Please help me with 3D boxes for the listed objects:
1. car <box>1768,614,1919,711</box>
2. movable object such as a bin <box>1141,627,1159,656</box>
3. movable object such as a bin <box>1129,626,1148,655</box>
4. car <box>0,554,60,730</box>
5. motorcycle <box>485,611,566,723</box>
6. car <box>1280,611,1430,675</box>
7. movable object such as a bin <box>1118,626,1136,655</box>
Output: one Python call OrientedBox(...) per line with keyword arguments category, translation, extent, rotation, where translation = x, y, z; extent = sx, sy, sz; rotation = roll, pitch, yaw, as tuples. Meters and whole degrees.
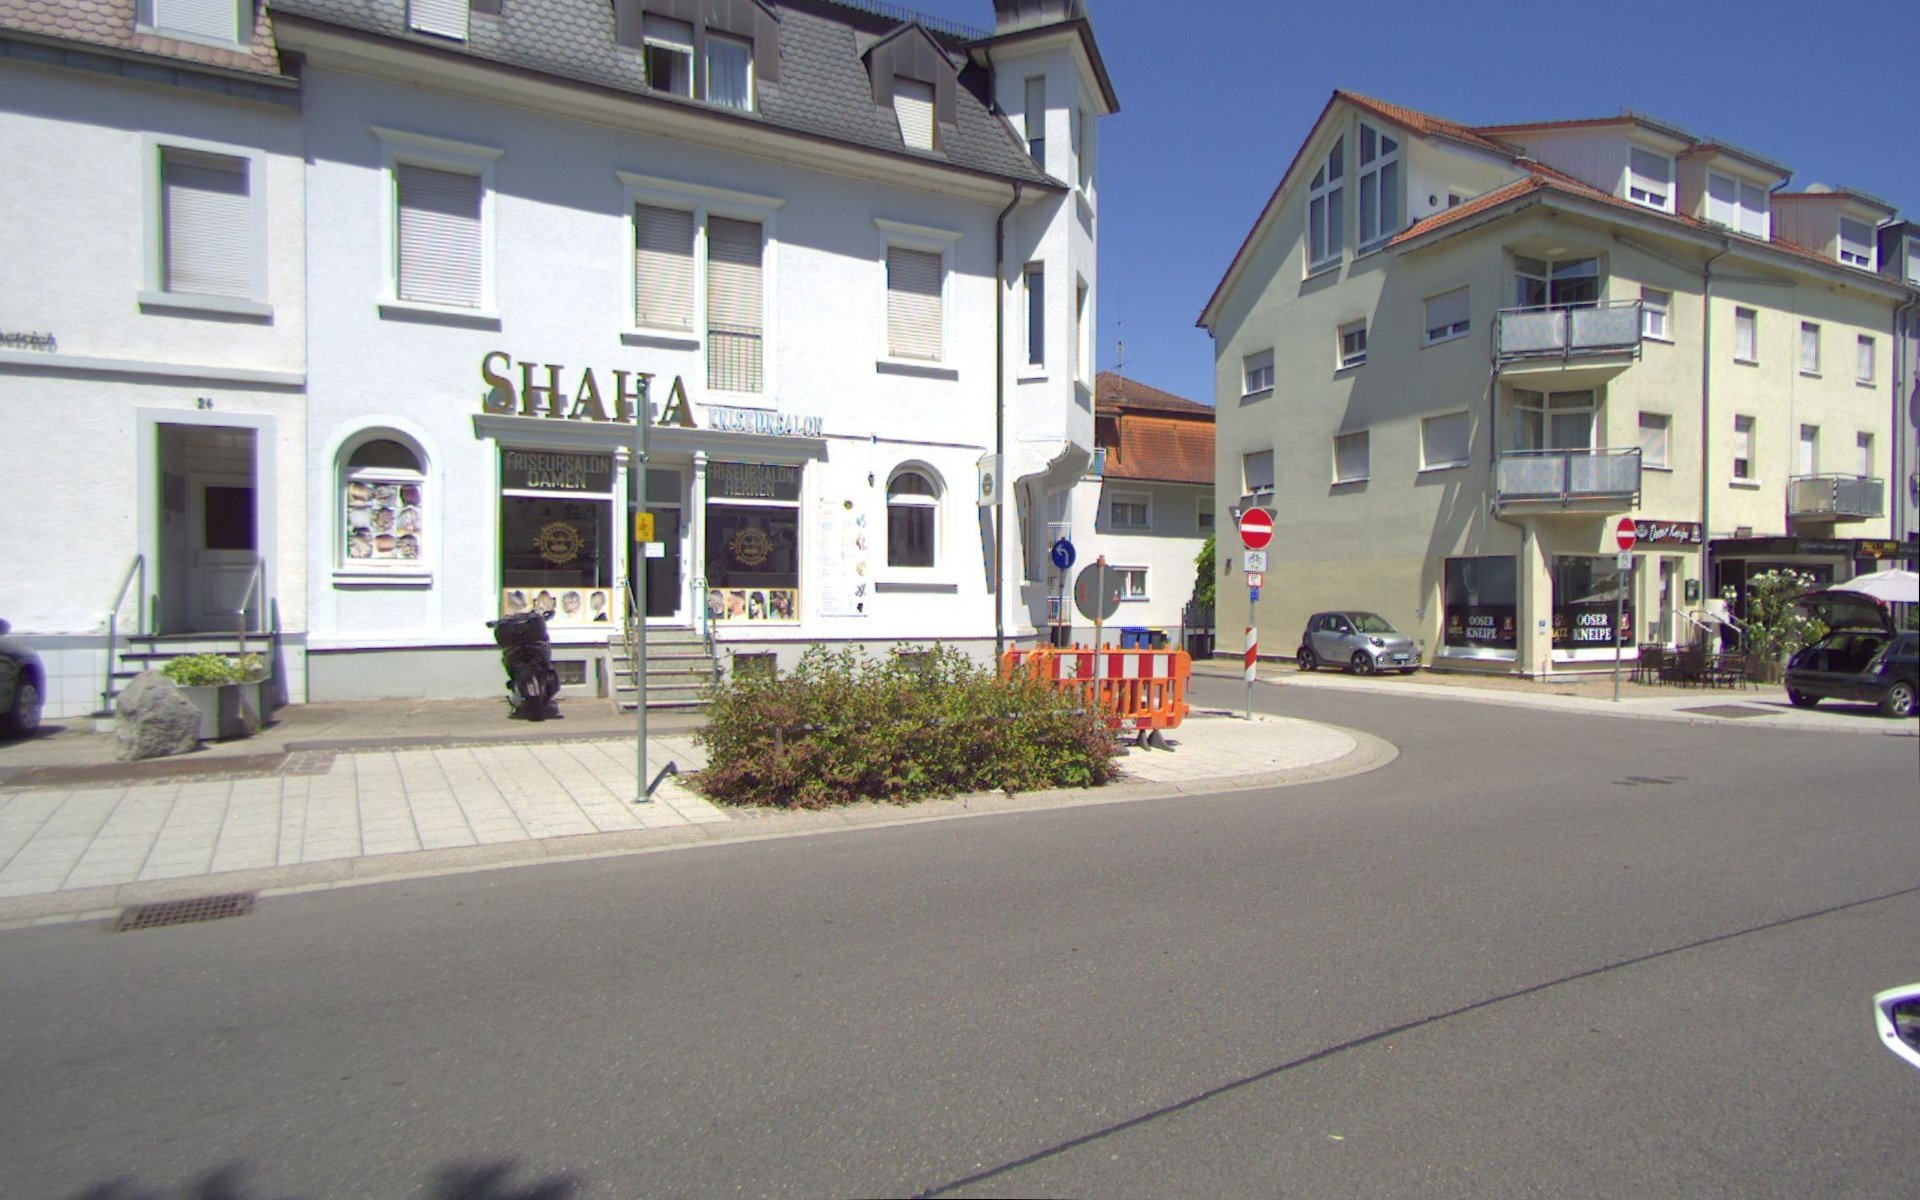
OrientedBox(category="car", translation=(16.605, 1.076, 17.533), extent=(4.059, 1.480, 1.713), rotation=(1, 2, -13))
OrientedBox(category="movable object such as a bin", translation=(7.971, 1.723, 42.182), extent=(0.533, 1.209, 0.591), rotation=(1, -1, -21))
OrientedBox(category="movable object such as a bin", translation=(7.462, 1.698, 41.969), extent=(0.533, 1.209, 0.591), rotation=(1, -1, -21))
OrientedBox(category="car", translation=(-9.827, 0.393, 8.736), extent=(1.945, 1.684, 4.165), rotation=(1, 0, -27))
OrientedBox(category="motorcycle", translation=(-5.440, 0.776, 12.520), extent=(0.822, 1.234, 2.388), rotation=(1, -1, -25))
OrientedBox(category="car", translation=(9.908, 1.033, 25.389), extent=(1.670, 1.478, 3.250), rotation=(0, 0, -27))
OrientedBox(category="movable object such as a bin", translation=(6.948, 1.674, 41.763), extent=(0.533, 1.209, 0.591), rotation=(1, -1, -21))
